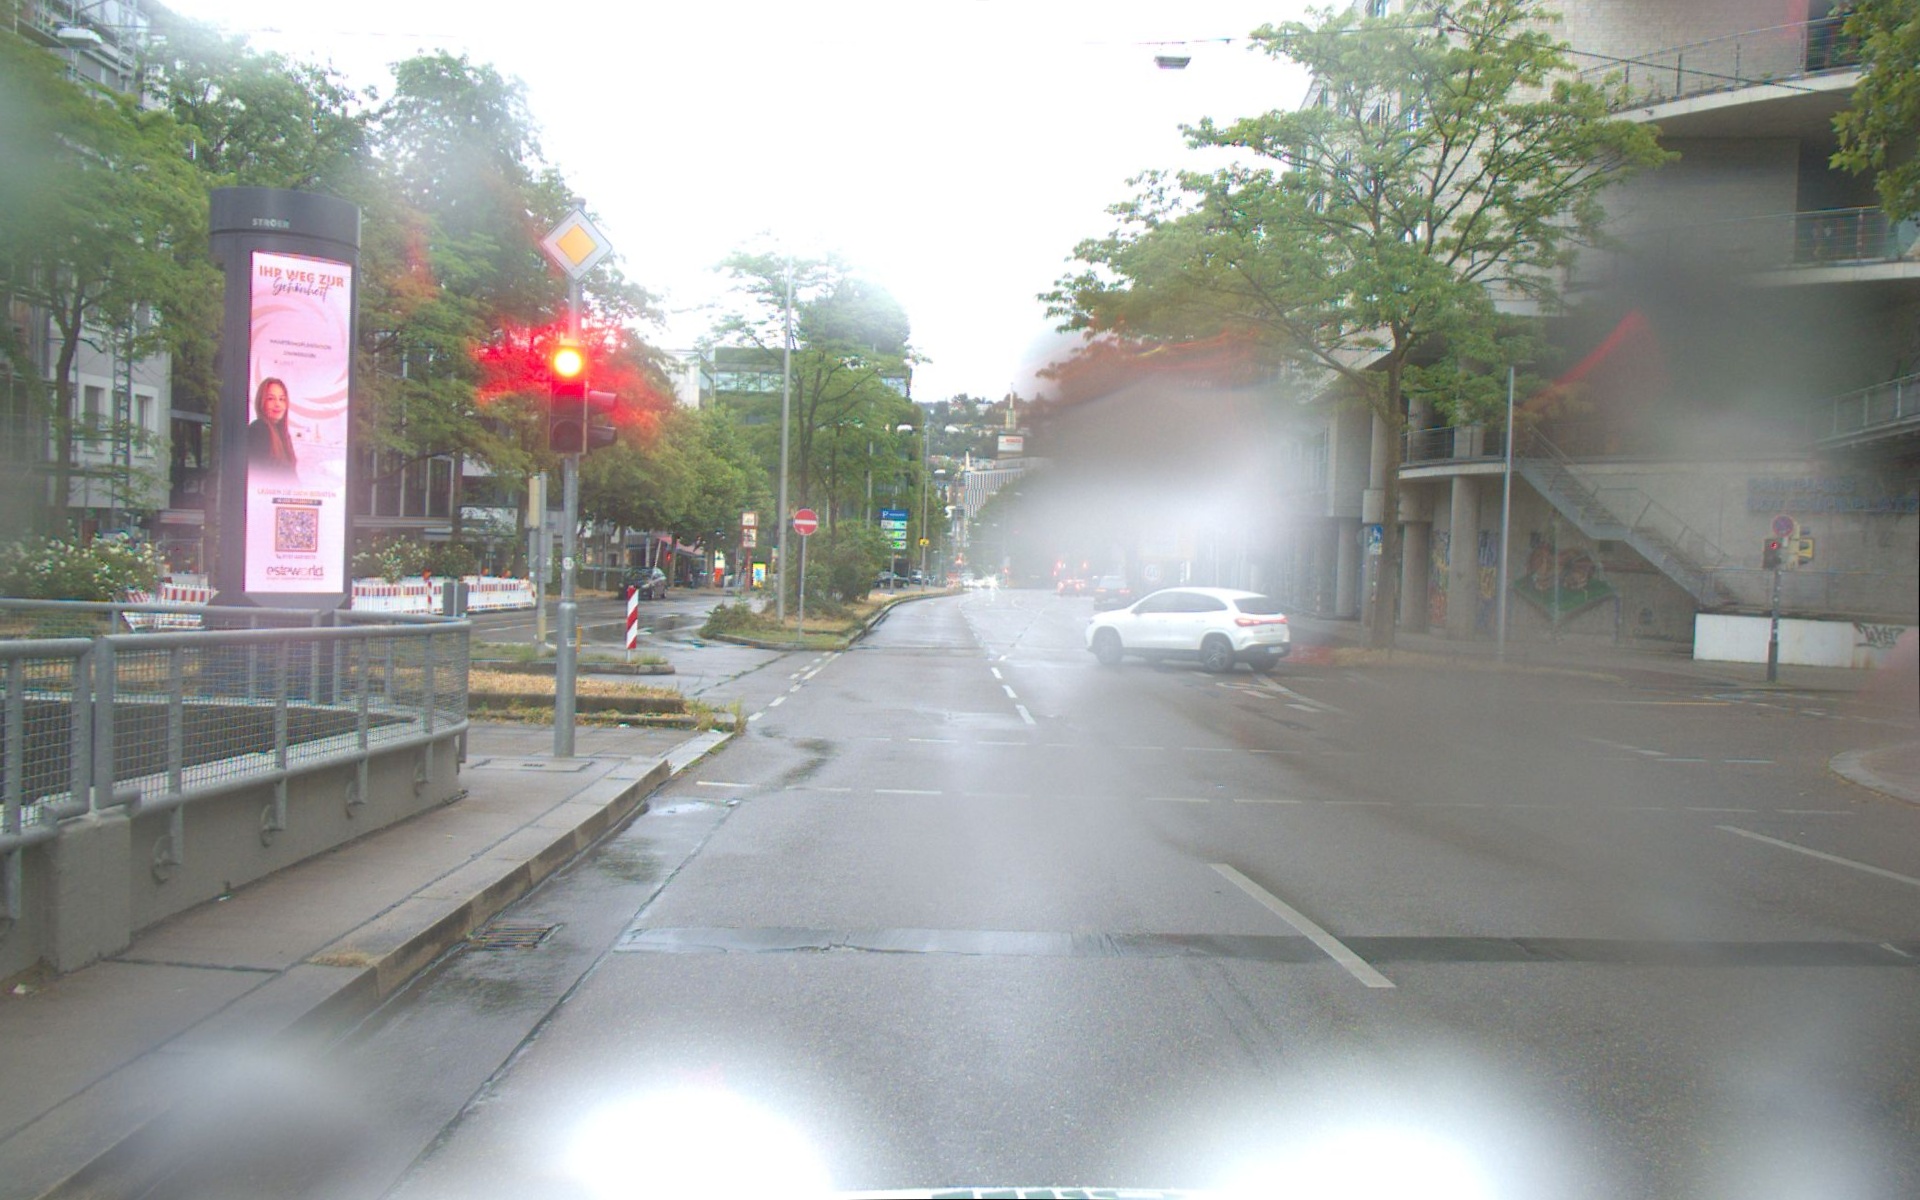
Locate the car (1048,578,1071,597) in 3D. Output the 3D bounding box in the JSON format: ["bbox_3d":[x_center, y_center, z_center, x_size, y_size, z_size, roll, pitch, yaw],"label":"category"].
[{"bbox_3d":[10.022,-1.263,166.974,1.953,1.766,3.999,1,0,-1],"label":"car"}]

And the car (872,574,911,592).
[{"bbox_3d":[-7.736,-1.941,185.837,3.930,1.789,1.988,2,0,-21],"label":"car"}]

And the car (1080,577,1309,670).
[{"bbox_3d":[4.699,0.452,33.469,4.220,1.668,1.825,3,0,40],"label":"car"}]

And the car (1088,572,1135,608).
[{"bbox_3d":[7.664,-0.516,83.550,2.288,1.720,4.003,1,1,6],"label":"car"}]

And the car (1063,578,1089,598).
[{"bbox_3d":[10.482,-1.062,149.593,1.953,1.754,3.999,1,0,-2],"label":"car"}]

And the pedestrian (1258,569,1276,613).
[{"bbox_3d":[13.864,-0.404,74.657,0.759,1.954,0.703,1,-1,9],"label":"pedestrian"}]
